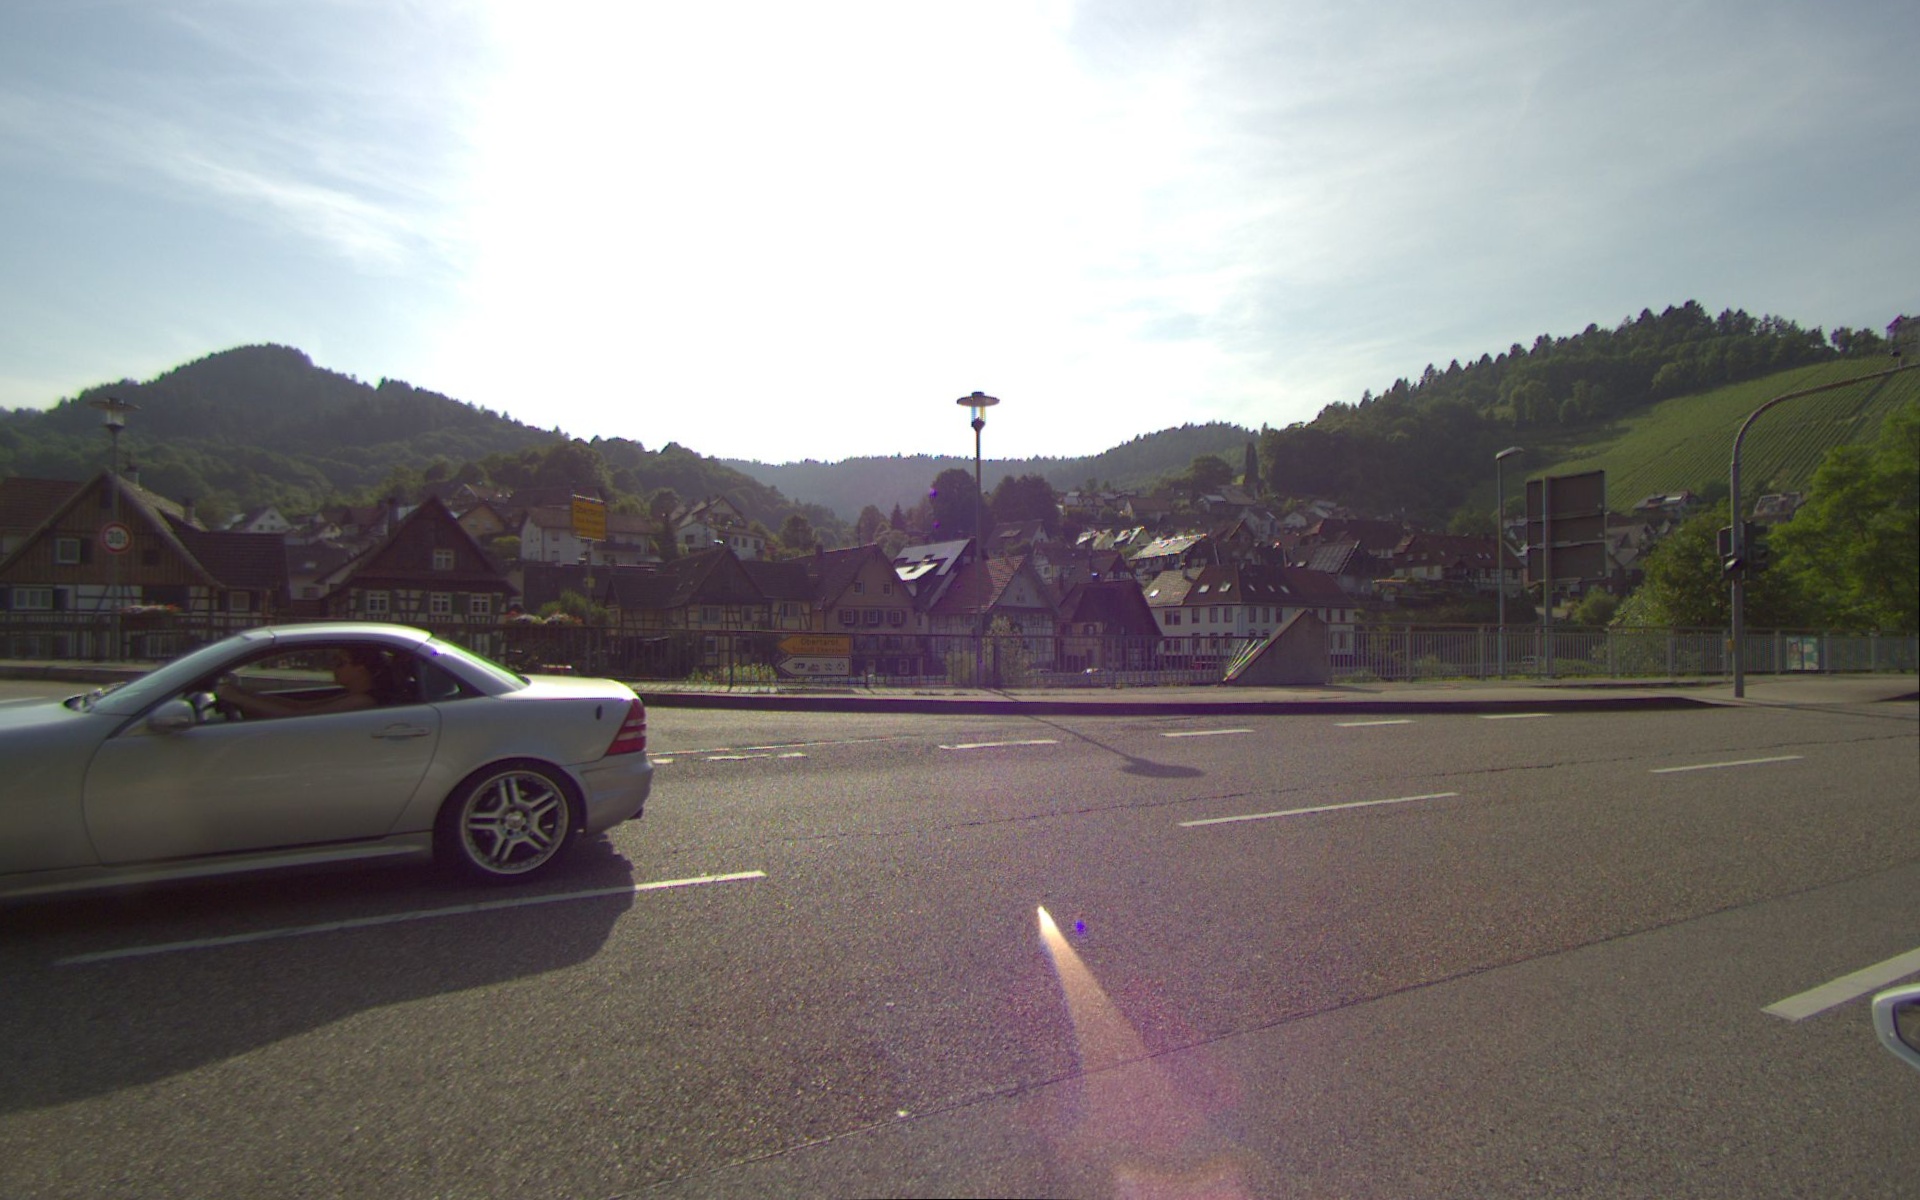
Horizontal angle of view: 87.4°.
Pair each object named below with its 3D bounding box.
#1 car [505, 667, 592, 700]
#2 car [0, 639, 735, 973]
[{"bbox_3d":[-24.047,4.876,58.736,4.498,1.714,1.482,1,-1,-35],"label":"car"},{"bbox_3d":[-3.368,0.856,5.126,4.047,1.248,1.637,1,-1,-31],"label":"car"}]
